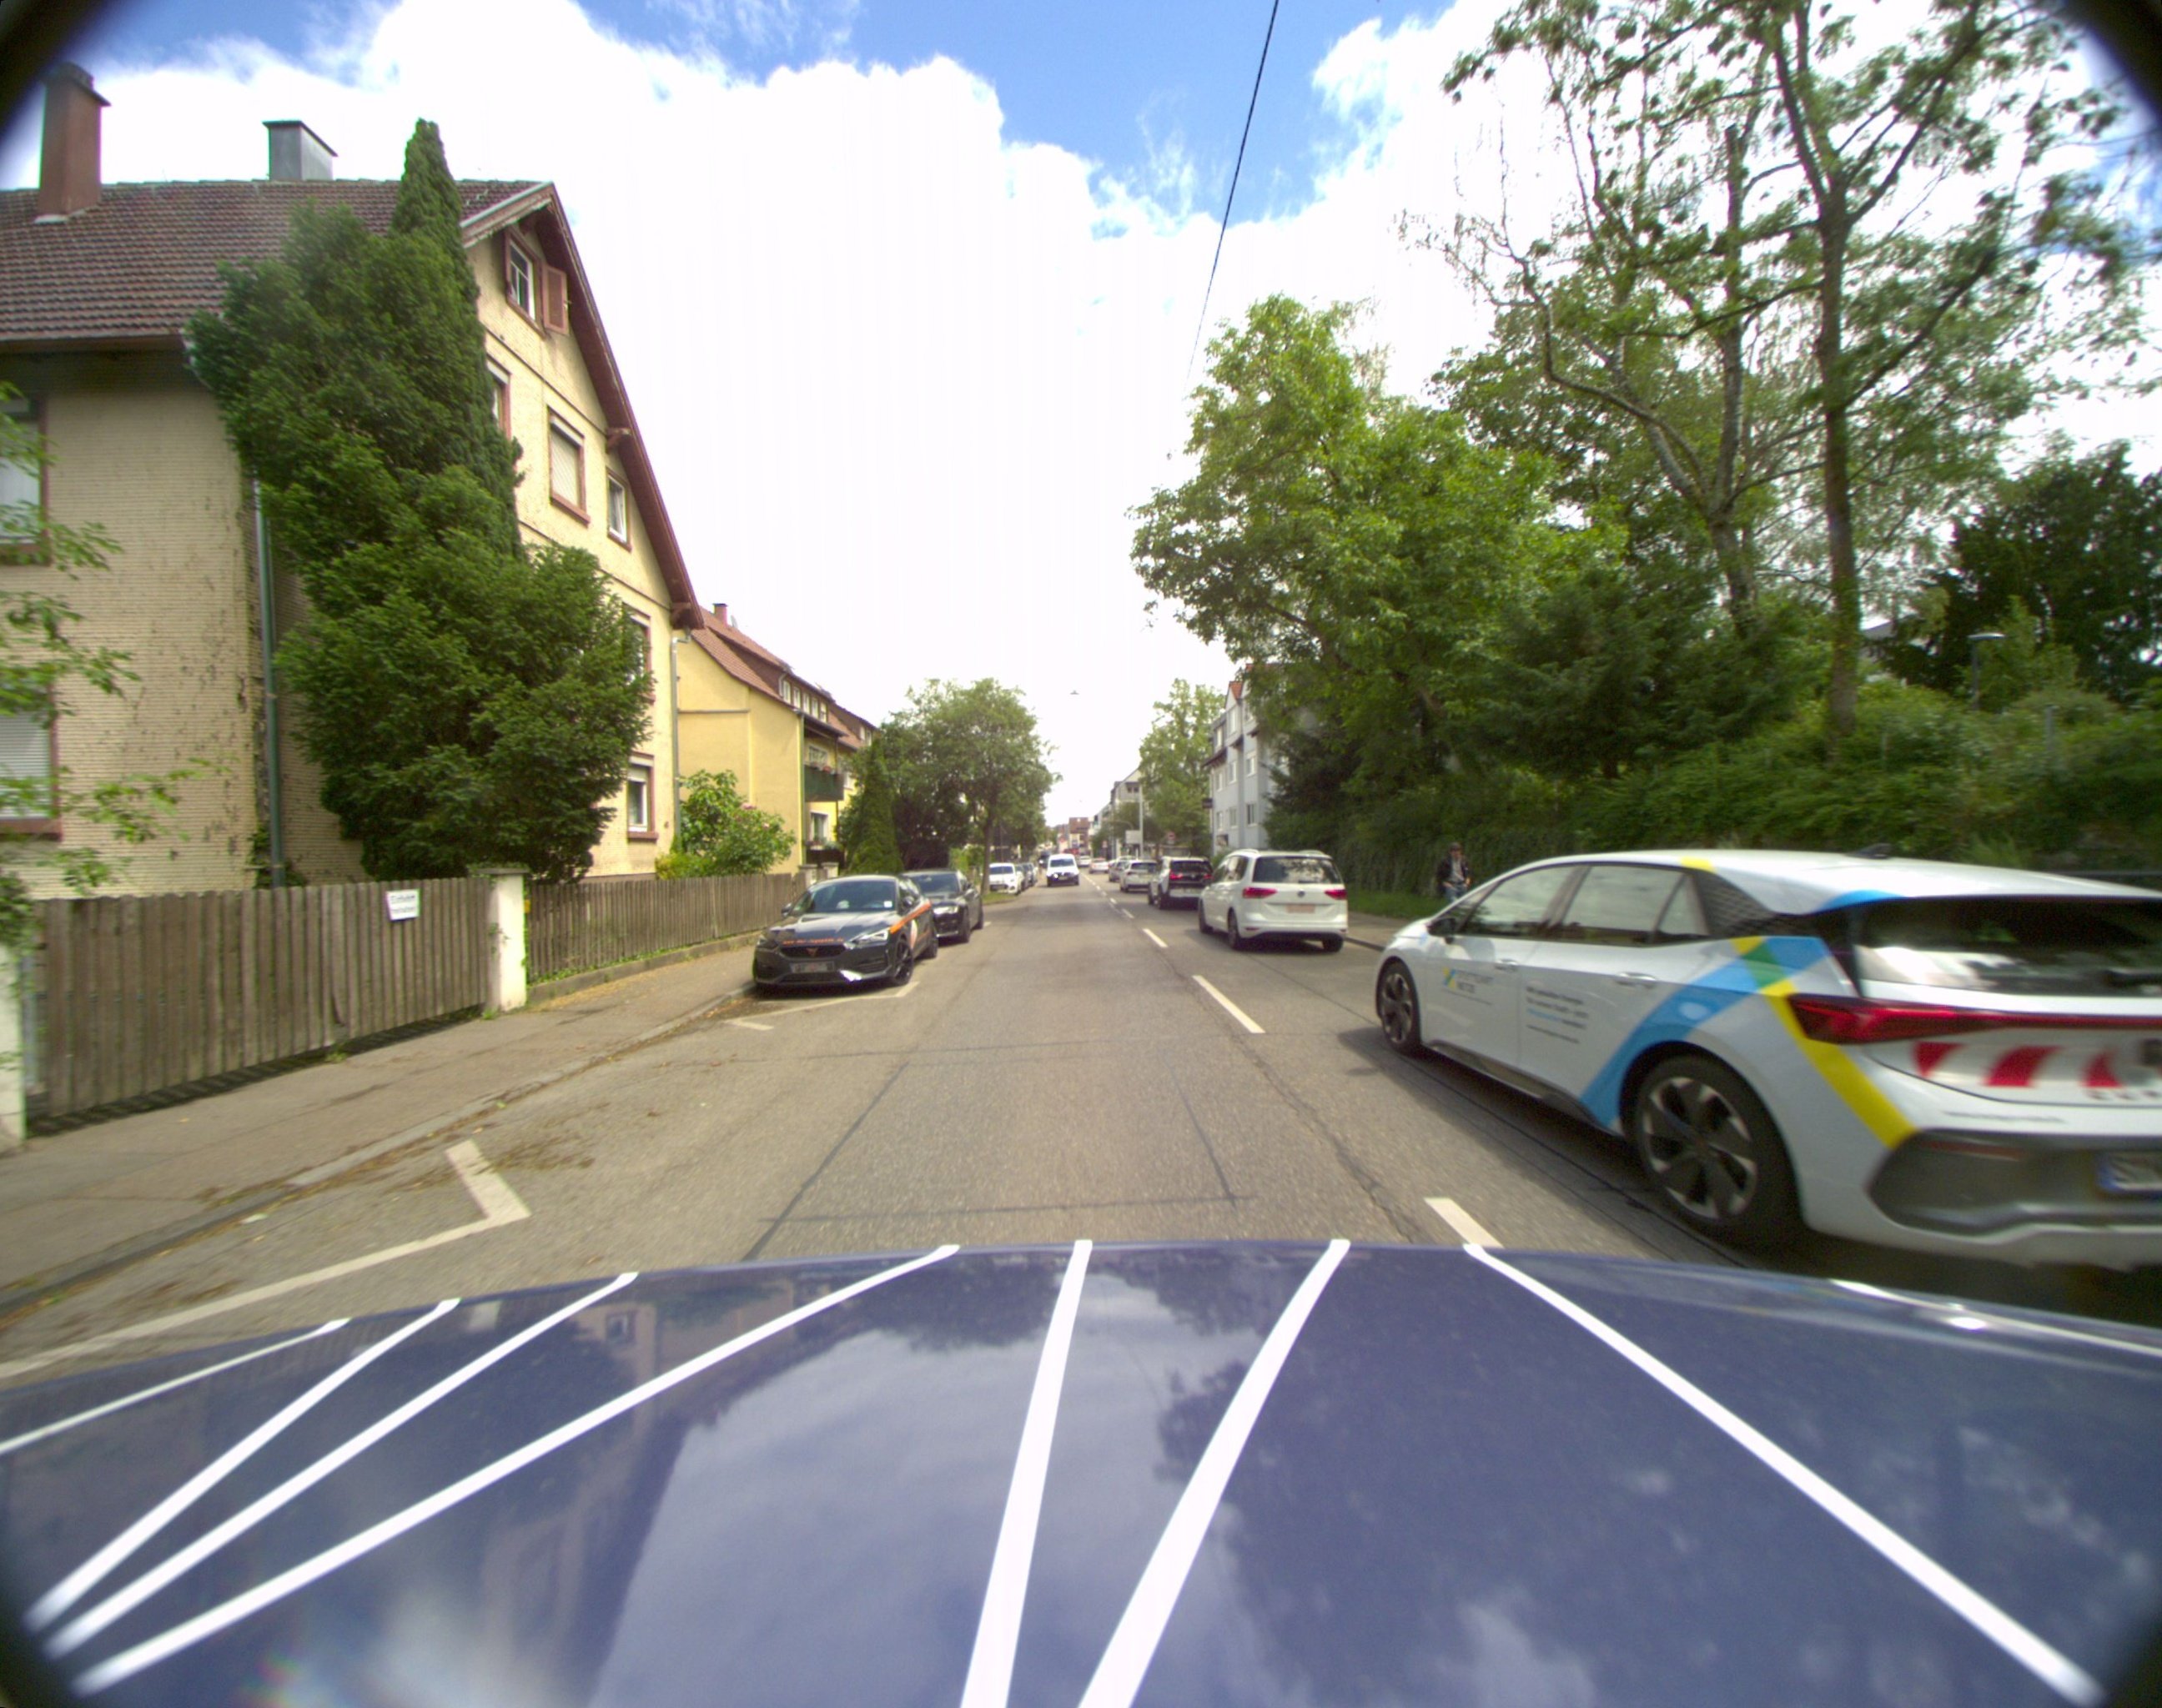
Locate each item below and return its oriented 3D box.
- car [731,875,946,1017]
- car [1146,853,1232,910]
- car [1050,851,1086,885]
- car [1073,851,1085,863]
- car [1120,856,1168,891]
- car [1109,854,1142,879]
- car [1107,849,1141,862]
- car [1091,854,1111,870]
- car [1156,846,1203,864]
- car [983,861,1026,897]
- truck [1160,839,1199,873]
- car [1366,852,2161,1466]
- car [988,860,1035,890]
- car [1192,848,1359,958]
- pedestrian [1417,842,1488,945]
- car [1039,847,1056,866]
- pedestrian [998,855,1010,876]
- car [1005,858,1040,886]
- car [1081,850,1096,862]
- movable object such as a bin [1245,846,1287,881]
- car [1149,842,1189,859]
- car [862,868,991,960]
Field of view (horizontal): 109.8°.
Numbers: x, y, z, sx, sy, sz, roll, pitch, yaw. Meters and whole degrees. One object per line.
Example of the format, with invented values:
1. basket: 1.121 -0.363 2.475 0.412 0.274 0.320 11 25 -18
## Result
1. car: -3.189 1.117 11.023 1.829 1.409 4.508 -3 0 -3
2. car: 3.178 0.765 23.125 1.933 1.537 4.086 1 0 -1
3. car: -0.731 0.754 44.284 1.871 1.805 5.006 -2 1 0
4. car: -0.438 0.539 136.385 1.882 1.901 4.750 -2 1 -3
5. car: 2.751 0.821 33.927 1.764 1.431 3.969 0 0 -1
6. car: 2.822 0.766 49.048 1.714 1.447 4.285 1 1 -2
7. car: 5.562 0.173 99.222 4.223 1.504 1.822 -2 0 -2
8. car: 1.915 0.760 74.869 1.733 1.494 4.375 0 0 -2
9. car: 8.469 0.070 65.470 3.703 1.417 1.804 -2 1 -5
10. car: -3.495 1.098 35.179 1.626 1.499 3.778 -1 0 -1
11. truck: 7.412 0.094 57.925 2.230 2.366 6.325 -2 1 2
12. car: 3.211 0.783 4.039 1.789 1.582 4.153 0 0 -1
13. car: -3.650 1.088 40.576 1.998 1.415 4.588 -1 0 0
14. car: 3.245 0.726 13.617 1.791 1.638 4.490 0 0 -1
15. pedestrian: 6.293 0.637 12.901 0.655 1.657 0.931 -2 2 -6
16. car: -5.006 0.316 115.074 2.153 2.754 6.248 -2 1 0
17. pedestrian: -6.422 0.959 63.360 0.882 1.703 0.842 -2 2 0
18. car: -3.543 1.050 46.485 1.738 1.420 4.882 -4 0 -1
19. car: 1.003 0.268 99.683 1.811 1.562 4.158 0 1 -1
20. movable object such as a bin: 7.714 0.379 31.779 1.334 1.419 1.213 -2 1 -7
21. car: 11.135 -0.471 96.102 4.634 1.997 2.094 -2 1 -4
22. car: -3.067 1.119 16.107 1.806 1.437 4.885 -4 0 -2
